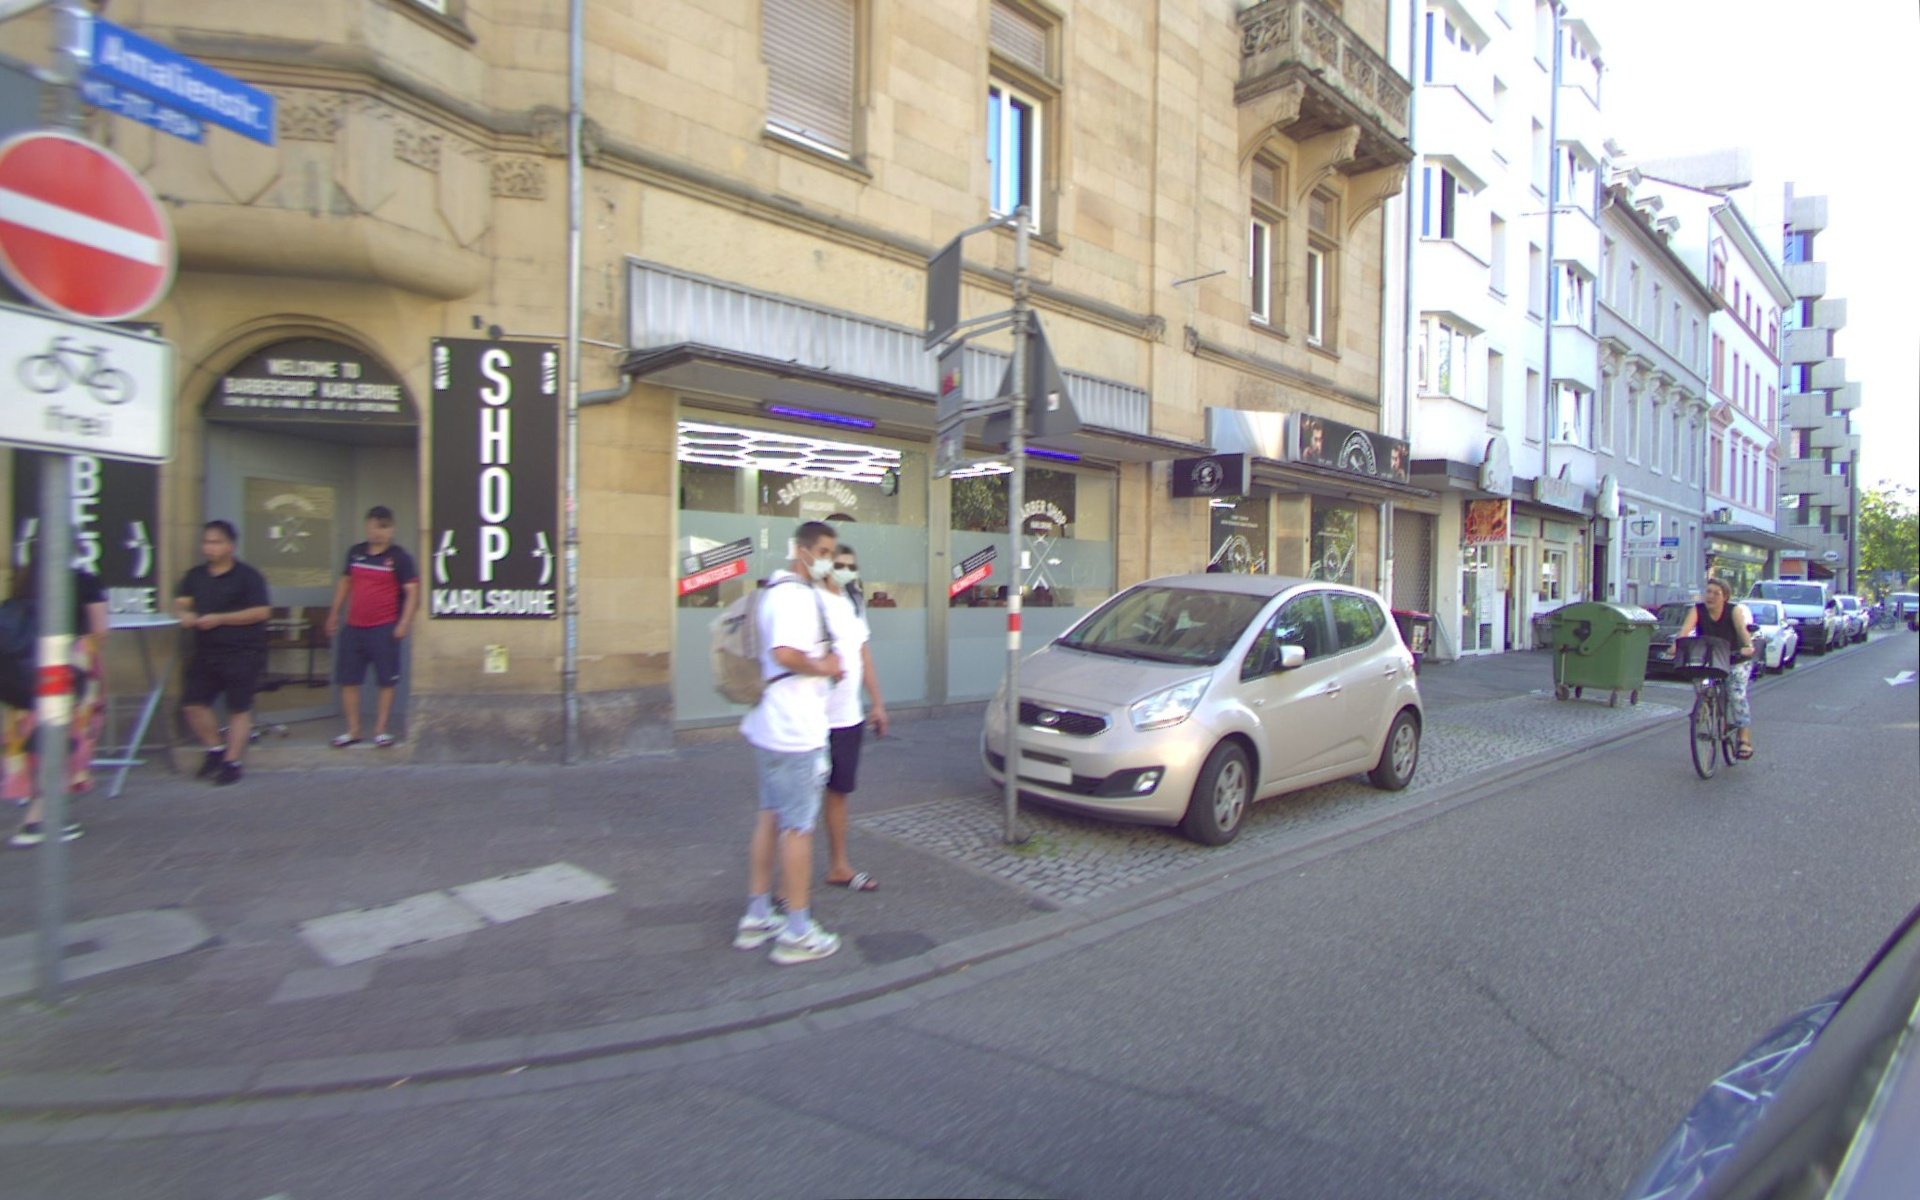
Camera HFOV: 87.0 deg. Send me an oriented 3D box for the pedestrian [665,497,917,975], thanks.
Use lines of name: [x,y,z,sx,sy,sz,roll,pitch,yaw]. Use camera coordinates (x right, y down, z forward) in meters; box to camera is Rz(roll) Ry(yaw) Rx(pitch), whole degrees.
pedestrian: [-0.718,0.485,4.137,0.876,1.740,0.697,1,2,-19]

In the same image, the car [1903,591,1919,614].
car: [66.094,0.125,69.227,3.931,1.521,1.996,-1,1,-42]

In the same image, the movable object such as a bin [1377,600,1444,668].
movable object such as a bin: [7.546,0.558,16.966,0.650,1.061,0.727,2,2,-34]

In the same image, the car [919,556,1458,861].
car: [1.876,0.527,7.524,4.058,1.593,1.976,-1,3,-44]

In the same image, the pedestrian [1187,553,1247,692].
pedestrian: [3.353,0.283,13.203,0.534,1.764,0.589,0,0,42]

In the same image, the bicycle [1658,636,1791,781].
bicycle: [6.809,0.900,8.981,1.806,1.081,0.665,-1,0,-44]

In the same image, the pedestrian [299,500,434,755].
pedestrian: [-4.170,0.177,7.153,0.701,1.714,0.500,-1,0,-16]

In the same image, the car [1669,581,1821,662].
car: [16.976,0.385,21.822,3.934,1.509,1.996,-1,3,-44]

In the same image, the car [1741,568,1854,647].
car: [23.505,0.136,28.318,1.995,1.977,5.020,4,3,44]

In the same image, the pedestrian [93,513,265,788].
pedestrian: [-5.126,0.305,6.686,0.701,1.714,0.621,-1,0,-16]

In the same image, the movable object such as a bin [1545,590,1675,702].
movable object such as a bin: [9.319,0.612,14.512,1.386,1.439,1.148,-1,4,-40]

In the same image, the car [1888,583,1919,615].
car: [60.948,-0.084,64.780,3.934,2.039,1.995,-1,0,-44]

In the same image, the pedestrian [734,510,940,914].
pedestrian: [-0.570,0.464,4.804,0.691,1.740,0.689,2,2,23]

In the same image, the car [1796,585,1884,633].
car: [30.573,0.257,35.117,1.995,1.470,3.891,4,3,45]

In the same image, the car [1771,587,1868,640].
car: [27.083,0.372,31.865,1.995,1.470,3.807,4,3,45]

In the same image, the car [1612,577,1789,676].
car: [13.995,0.410,19.055,3.934,1.593,1.996,-1,3,-44]

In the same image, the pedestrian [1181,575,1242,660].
pedestrian: [4.458,0.302,17.977,0.799,1.441,0.696,1,2,-7]

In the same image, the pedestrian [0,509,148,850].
pedestrian: [-4.919,0.390,5.372,0.662,1.712,0.619,0,2,0]

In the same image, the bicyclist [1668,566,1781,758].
bicyclist: [6.725,0.505,8.897,0.894,1.591,0.657,0,0,-44]
